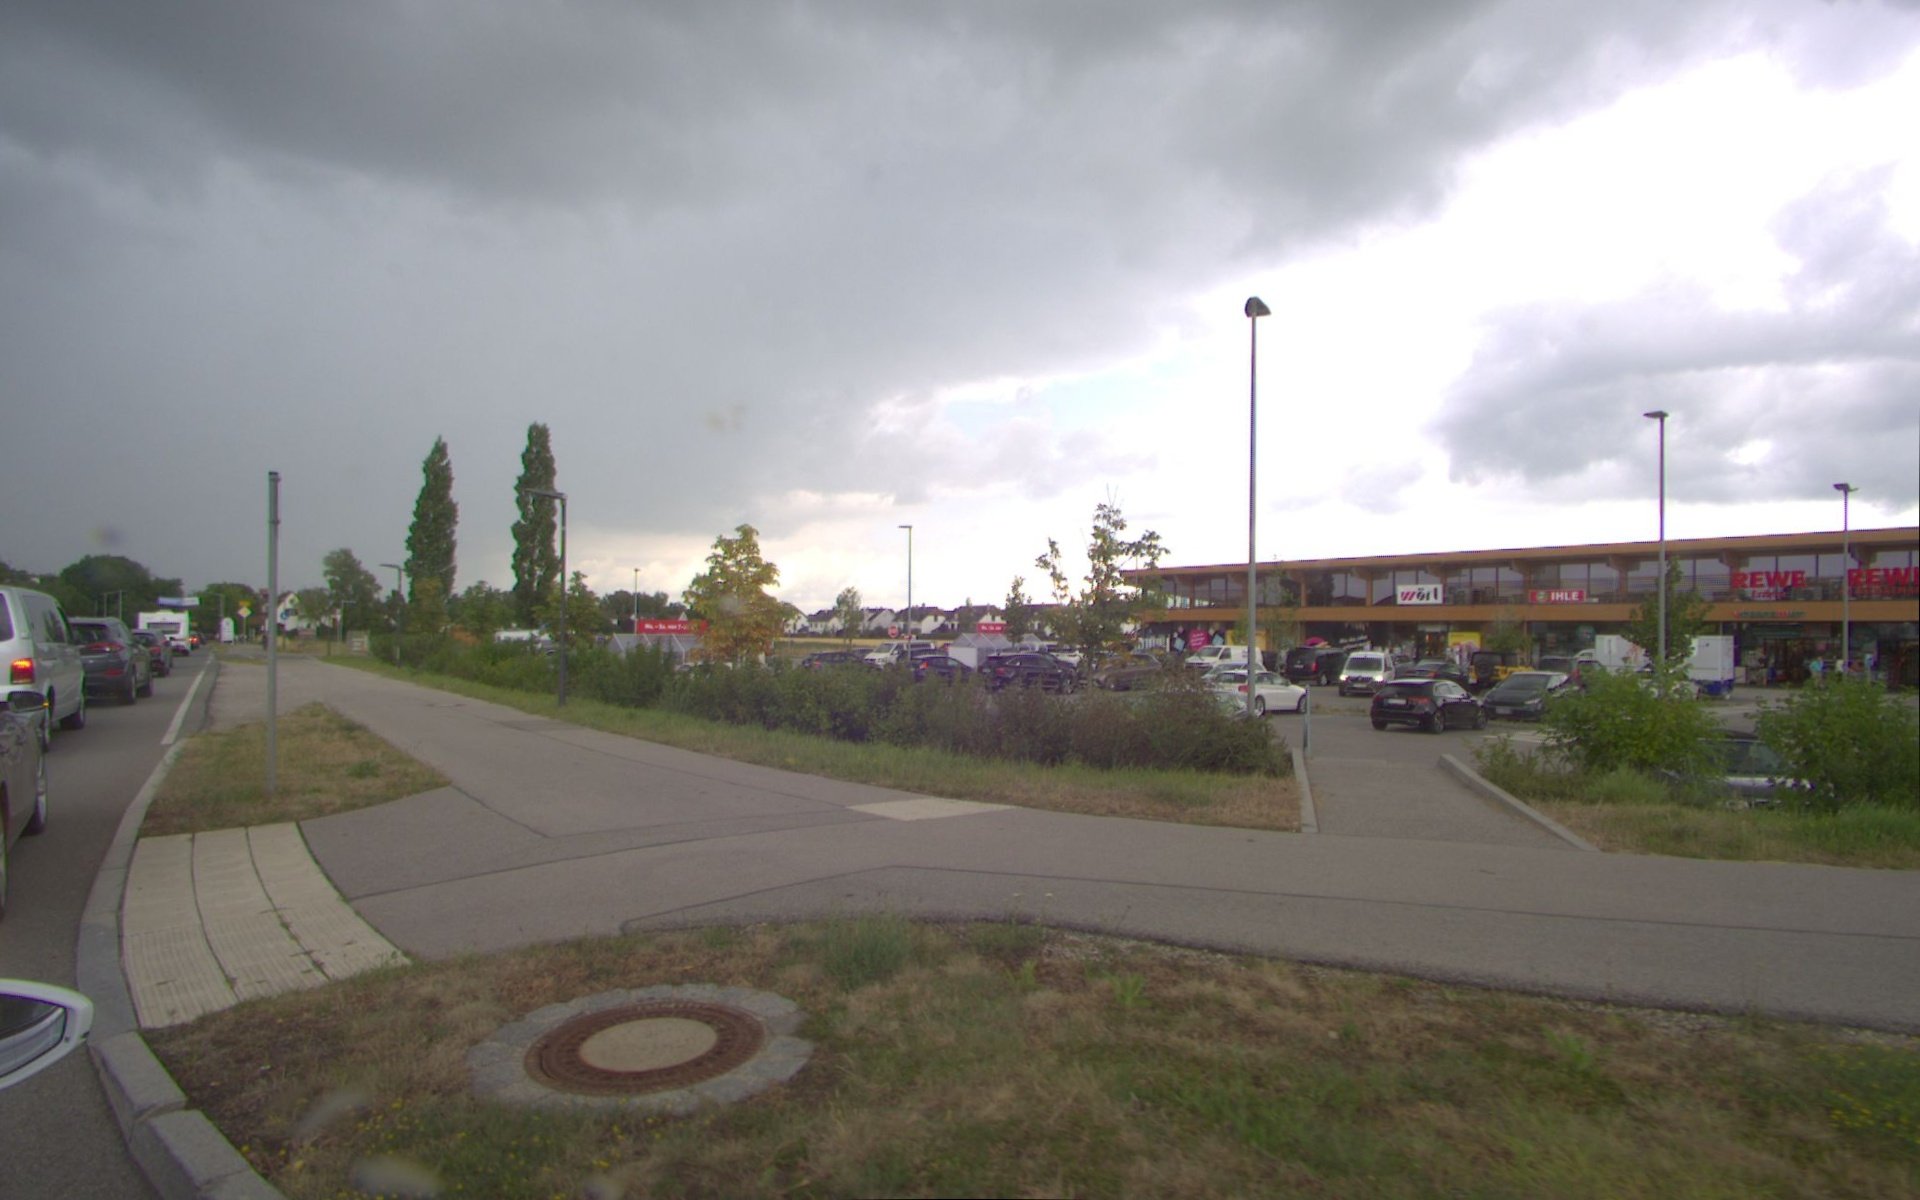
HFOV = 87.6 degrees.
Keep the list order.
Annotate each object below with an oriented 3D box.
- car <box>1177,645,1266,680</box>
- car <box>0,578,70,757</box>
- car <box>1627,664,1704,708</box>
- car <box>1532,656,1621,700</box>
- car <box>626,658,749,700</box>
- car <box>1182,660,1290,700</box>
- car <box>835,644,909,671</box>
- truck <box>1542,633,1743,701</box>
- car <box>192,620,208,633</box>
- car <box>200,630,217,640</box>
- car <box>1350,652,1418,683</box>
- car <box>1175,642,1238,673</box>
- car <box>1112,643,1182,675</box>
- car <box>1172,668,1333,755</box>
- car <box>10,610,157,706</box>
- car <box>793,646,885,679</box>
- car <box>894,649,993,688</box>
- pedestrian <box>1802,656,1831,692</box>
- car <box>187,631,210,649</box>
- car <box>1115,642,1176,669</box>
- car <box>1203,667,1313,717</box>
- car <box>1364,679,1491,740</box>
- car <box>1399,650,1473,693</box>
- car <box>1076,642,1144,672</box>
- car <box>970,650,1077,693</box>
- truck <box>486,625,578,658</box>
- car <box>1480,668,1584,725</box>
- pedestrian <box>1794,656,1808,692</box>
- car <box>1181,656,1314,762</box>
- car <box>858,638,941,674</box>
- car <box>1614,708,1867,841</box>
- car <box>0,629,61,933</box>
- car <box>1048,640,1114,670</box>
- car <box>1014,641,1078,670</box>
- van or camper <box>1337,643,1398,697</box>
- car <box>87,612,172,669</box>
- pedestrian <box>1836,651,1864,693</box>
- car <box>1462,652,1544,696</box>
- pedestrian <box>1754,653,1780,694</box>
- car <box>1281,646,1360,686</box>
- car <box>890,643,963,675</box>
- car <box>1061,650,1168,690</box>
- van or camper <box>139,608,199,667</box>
[{"bbox_3d":[14.556,3.429,55.538,5.241,1.854,1.986,3,-3,-37],"label":"car"},{"bbox_3d":[-12.150,0.746,12.112,1.853,1.959,3.967,2,-2,-39],"label":"car"},{"bbox_3d":[27.766,3.328,39.362,3.960,1.549,1.716,2,-2,-43],"label":"car"},{"bbox_3d":[25.656,3.197,41.625,4.073,1.746,1.838,3,-4,-38],"label":"car"},{"bbox_3d":[-10.501,3.021,38.690,4.196,1.458,1.986,2,-2,-37],"label":"car"},{"bbox_3d":[11.502,3.278,41.584,4.733,1.503,1.890,2,-2,-38],"label":"car"},{"bbox_3d":[-5.467,3.553,62.408,4.272,1.598,1.756,2,-2,-35],"label":"car"},{"bbox_3d":[31.175,2.953,46.008,2.946,2.843,7.194,2,-2,-41],"label":"truck"},{"bbox_3d":[-137.216,4.741,180.820,1.973,2.239,3.977,2,-2,-32],"label":"car"},{"bbox_3d":[-92.585,4.303,123.397,1.599,1.288,3.437,2,-2,-36],"label":"car"},{"bbox_3d":[23.141,3.662,54.608,4.181,1.632,1.753,3,-3,-40],"label":"car"},{"bbox_3d":[15.841,3.666,64.329,4.068,1.918,1.784,2,-2,-38],"label":"car"},{"bbox_3d":[11.357,3.567,60.776,3.947,1.861,1.988,2,-2,-33],"label":"car"},{"bbox_3d":[6.546,2.386,22.169,1.773,1.627,3.964,-1,-2,45],"label":"car"},{"bbox_3d":[-16.707,1.051,19.270,1.761,1.638,3.971,2,-2,-36],"label":"car"},{"bbox_3d":[-6.486,3.335,53.851,4.517,1.685,1.986,2,-2,-37],"label":"car"},{"bbox_3d":[-0.750,3.195,47.255,4.365,1.685,1.986,2,-2,-37],"label":"car"},{"bbox_3d":[41.299,3.553,48.289,0.736,1.678,0.805,0,-1,1],"label":"pedestrian"},{"bbox_3d":[-71.928,3.752,94.653,1.599,1.651,3.591,2,-2,-36],"label":"car"},{"bbox_3d":[12.794,3.800,69.103,3.950,1.794,1.987,2,-2,-35],"label":"car"},{"bbox_3d":[9.849,2.981,32.950,3.956,1.503,1.668,3,-3,-41],"label":"car"},{"bbox_3d":[13.114,2.994,27.981,3.959,1.416,1.820,2,-2,-42],"label":"car"},{"bbox_3d":[22.244,3.305,46.762,3.959,1.878,1.757,2,-2,-42],"label":"car"},{"bbox_3d":[9.453,3.604,63.174,3.949,1.861,1.987,2,-3,-34],"label":"car"},{"bbox_3d":[2.718,3.000,42.246,4.413,1.727,1.790,3,-3,-37],"label":"car"},{"bbox_3d":[-25.787,2.530,60.405,4.762,1.896,1.983,3,-3,-41],"label":"truck"},{"bbox_3d":[17.957,2.963,31.351,3.960,1.573,1.716,2,-2,-43],"label":"car"},{"bbox_3d":[46.676,4.099,55.583,0.571,1.974,0.522,0,-1,38],"label":"pedestrian"},{"bbox_3d":[4.185,1.482,14.230,1.551,1.221,3.752,1,-4,20],"label":"car"},{"bbox_3d":[-3.614,3.330,60.566,1.978,2.040,5.082,1,-1,42],"label":"car"},{"bbox_3d":[10.937,2.364,14.365,1.552,1.389,3.730,0,-3,16],"label":"car"},{"bbox_3d":[-6.118,0.868,5.309,1.769,1.409,4.100,1,-1,-39],"label":"car"},{"bbox_3d":[7.873,3.557,65.078,3.947,1.861,1.988,2,-2,-33],"label":"car"},{"bbox_3d":[5.838,3.717,67.513,3.948,1.861,1.988,2,-2,-34],"label":"car"},{"bbox_3d":[17.342,2.892,42.496,1.739,2.125,4.786,0,-2,30],"label":"van or camper"},{"bbox_3d":[-25.409,1.225,30.743,1.761,1.638,3.972,1,-2,-37],"label":"car"},{"bbox_3d":[42.097,3.402,47.349,0.917,1.921,0.789,4,-3,-33],"label":"pedestrian"},{"bbox_3d":[24.166,3.264,44.506,3.953,1.878,1.759,3,-3,-37],"label":"car"},{"bbox_3d":[40.942,3.705,50.787,0.797,2.039,0.923,1,-1,-42],"label":"pedestrian"},{"bbox_3d":[18.578,3.397,51.501,3.955,1.860,1.985,5,-4,-37],"label":"car"},{"bbox_3d":[-1.908,3.388,57.679,3.953,1.727,1.703,3,-3,-37],"label":"car"},{"bbox_3d":[7.099,3.150,45.726,4.932,1.685,1.985,2,-2,-37],"label":"car"},{"bbox_3d":[-48.041,2.336,60.931,2.602,3.365,6.773,2,-3,-37],"label":"van or camper"}]
